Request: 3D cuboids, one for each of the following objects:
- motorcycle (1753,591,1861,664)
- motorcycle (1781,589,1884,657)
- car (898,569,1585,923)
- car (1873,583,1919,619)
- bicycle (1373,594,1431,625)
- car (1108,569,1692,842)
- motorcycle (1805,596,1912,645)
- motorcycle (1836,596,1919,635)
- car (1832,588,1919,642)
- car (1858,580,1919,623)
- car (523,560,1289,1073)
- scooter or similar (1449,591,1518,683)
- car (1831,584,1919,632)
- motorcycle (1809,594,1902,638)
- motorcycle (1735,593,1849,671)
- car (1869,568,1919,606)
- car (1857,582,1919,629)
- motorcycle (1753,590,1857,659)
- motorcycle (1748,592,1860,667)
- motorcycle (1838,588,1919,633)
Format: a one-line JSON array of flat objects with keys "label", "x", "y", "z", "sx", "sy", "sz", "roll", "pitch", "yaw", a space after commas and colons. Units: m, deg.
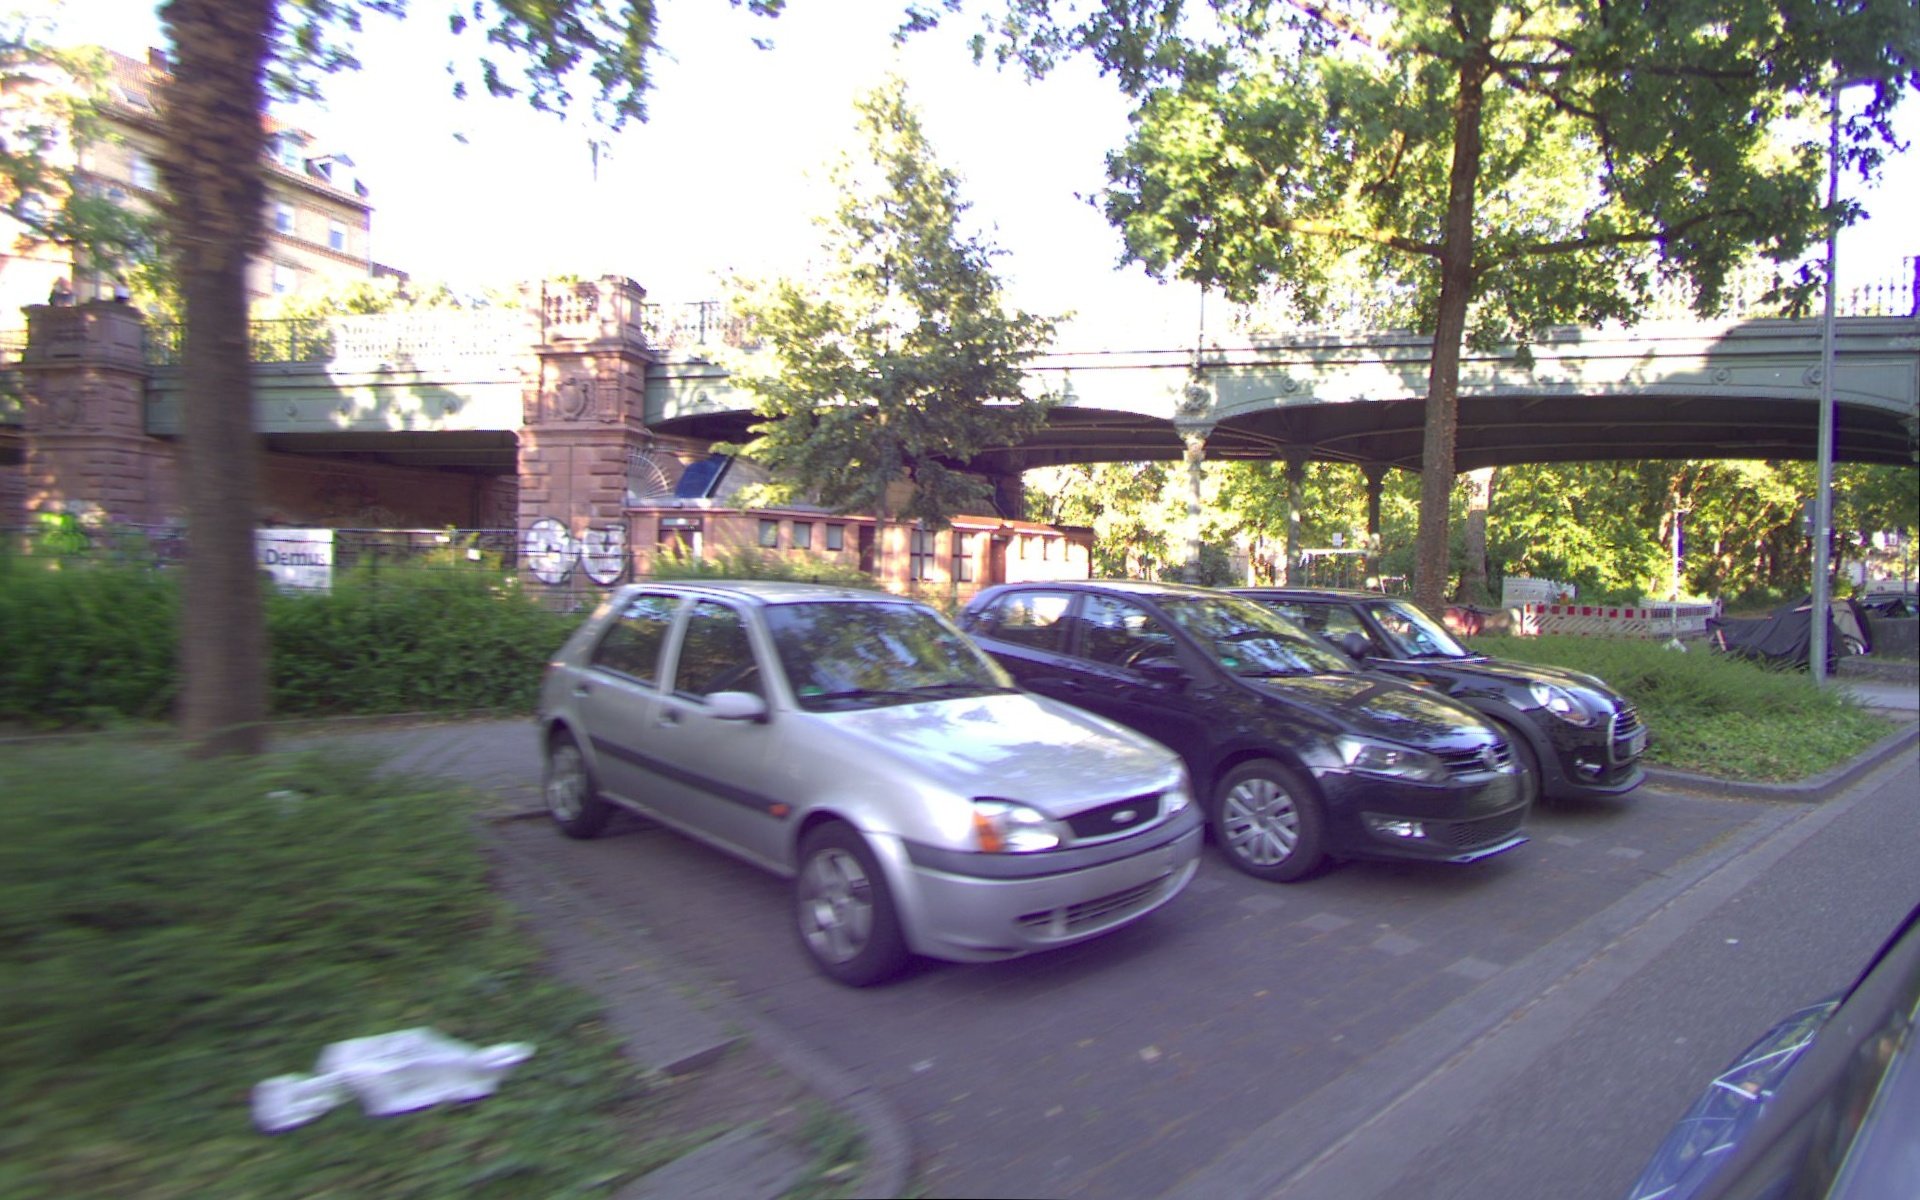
[{"label": "motorcycle", "x": 17.774, "y": 0.546, "z": 21.277, "sx": 0.698, "sy": 1.425, "sz": 1.608, "roll": -1, "pitch": 1, "yaw": -22}, {"label": "motorcycle", "x": 19.350, "y": 0.488, "z": 22.481, "sx": 0.698, "sy": 1.425, "sz": 1.608, "roll": -1, "pitch": 1, "yaw": -22}, {"label": "car", "x": 1.473, "y": 0.567, "z": 6.346, "sx": 1.796, "sy": 1.418, "sz": 3.789, "roll": -2, "pitch": 4, "yaw": -41}, {"label": "car", "x": 43.418, "y": 0.032, "z": 45.069, "sx": 1.561, "sy": 1.593, "sz": 4.024, "roll": -2, "pitch": 2, "yaw": -44}, {"label": "bicycle", "x": 14.183, "y": 0.294, "z": 32.486, "sx": 1.593, "sy": 0.868, "sz": 0.521, "roll": 4, "pitch": 2, "yaw": 17}, {"label": "car", "x": 3.156, "y": 0.555, "z": 7.768, "sx": 3.783, "sy": 1.490, "sz": 1.610, "roll": 3, "pitch": 4, "yaw": 44}, {"label": "motorcycle", "x": 22.463, "y": 0.500, "z": 25.333, "sx": 1.818, "sy": 1.146, "sz": 0.844, "roll": 0, "pitch": 1, "yaw": 25}, {"label": "motorcycle", "x": 25.452, "y": 0.432, "z": 27.960, "sx": 1.700, "sy": 1.043, "sz": 0.809, "roll": 0, "pitch": 1, "yaw": 14}, {"label": "car", "x": 29.872, "y": 0.447, "z": 31.224, "sx": 1.647, "sy": 1.597, "sz": 4.378, "roll": -2, "pitch": 2, "yaw": -44}, {"label": "car", "x": 40.136, "y": 0.065, "z": 41.715, "sx": 1.876, "sy": 1.717, "sz": 4.536, "roll": -2, "pitch": 2, "yaw": -44}, {"label": "car", "x": -0.582, "y": 0.546, "z": 4.850, "sx": 1.636, "sy": 1.418, "sz": 3.788, "roll": -2, "pitch": 4, "yaw": -42}, {"label": "scooter or similar", "x": 8.048, "y": 0.538, "z": 15.531, "sx": 1.302, "sy": 1.314, "sz": 0.478, "roll": -2, "pitch": 1, "yaw": -40}, {"label": "car", "x": 34.570, "y": 0.291, "z": 36.444, "sx": 1.703, "sy": 1.625, "sz": 4.598, "roll": -2, "pitch": 3, "yaw": -38}, {"label": "motorcycle", "x": 23.967, "y": 0.426, "z": 27.117, "sx": 1.700, "sy": 1.146, "sz": 0.710, "roll": 0, "pitch": 1, "yaw": 14}, {"label": "motorcycle", "x": 16.421, "y": 0.602, "z": 20.016, "sx": 0.698, "sy": 1.425, "sz": 1.608, "roll": -1, "pitch": 1, "yaw": -22}, {"label": "car", "x": 51.825, "y": -0.642, "z": 54.061, "sx": 1.842, "sy": 1.947, "sz": 4.678, "roll": -2, "pitch": 5, "yaw": -44}, {"label": "car", "x": 36.702, "y": 0.198, "z": 38.077, "sx": 4.374, "sy": 1.729, "sz": 1.877, "roll": 1, "pitch": 2, "yaw": 44}, {"label": "motorcycle", "x": 18.458, "y": 0.511, "z": 22.136, "sx": 0.698, "sy": 1.425, "sz": 1.608, "roll": -1, "pitch": 1, "yaw": -22}, {"label": "motorcycle", "x": 17.187, "y": 0.572, "z": 20.653, "sx": 0.698, "sy": 1.425, "sz": 1.608, "roll": -1, "pitch": 1, "yaw": -22}, {"label": "motorcycle", "x": 26.650, "y": 0.293, "z": 29.112, "sx": 1.914, "sy": 1.253, "sz": 0.898, "roll": 0, "pitch": 1, "yaw": 23}]
